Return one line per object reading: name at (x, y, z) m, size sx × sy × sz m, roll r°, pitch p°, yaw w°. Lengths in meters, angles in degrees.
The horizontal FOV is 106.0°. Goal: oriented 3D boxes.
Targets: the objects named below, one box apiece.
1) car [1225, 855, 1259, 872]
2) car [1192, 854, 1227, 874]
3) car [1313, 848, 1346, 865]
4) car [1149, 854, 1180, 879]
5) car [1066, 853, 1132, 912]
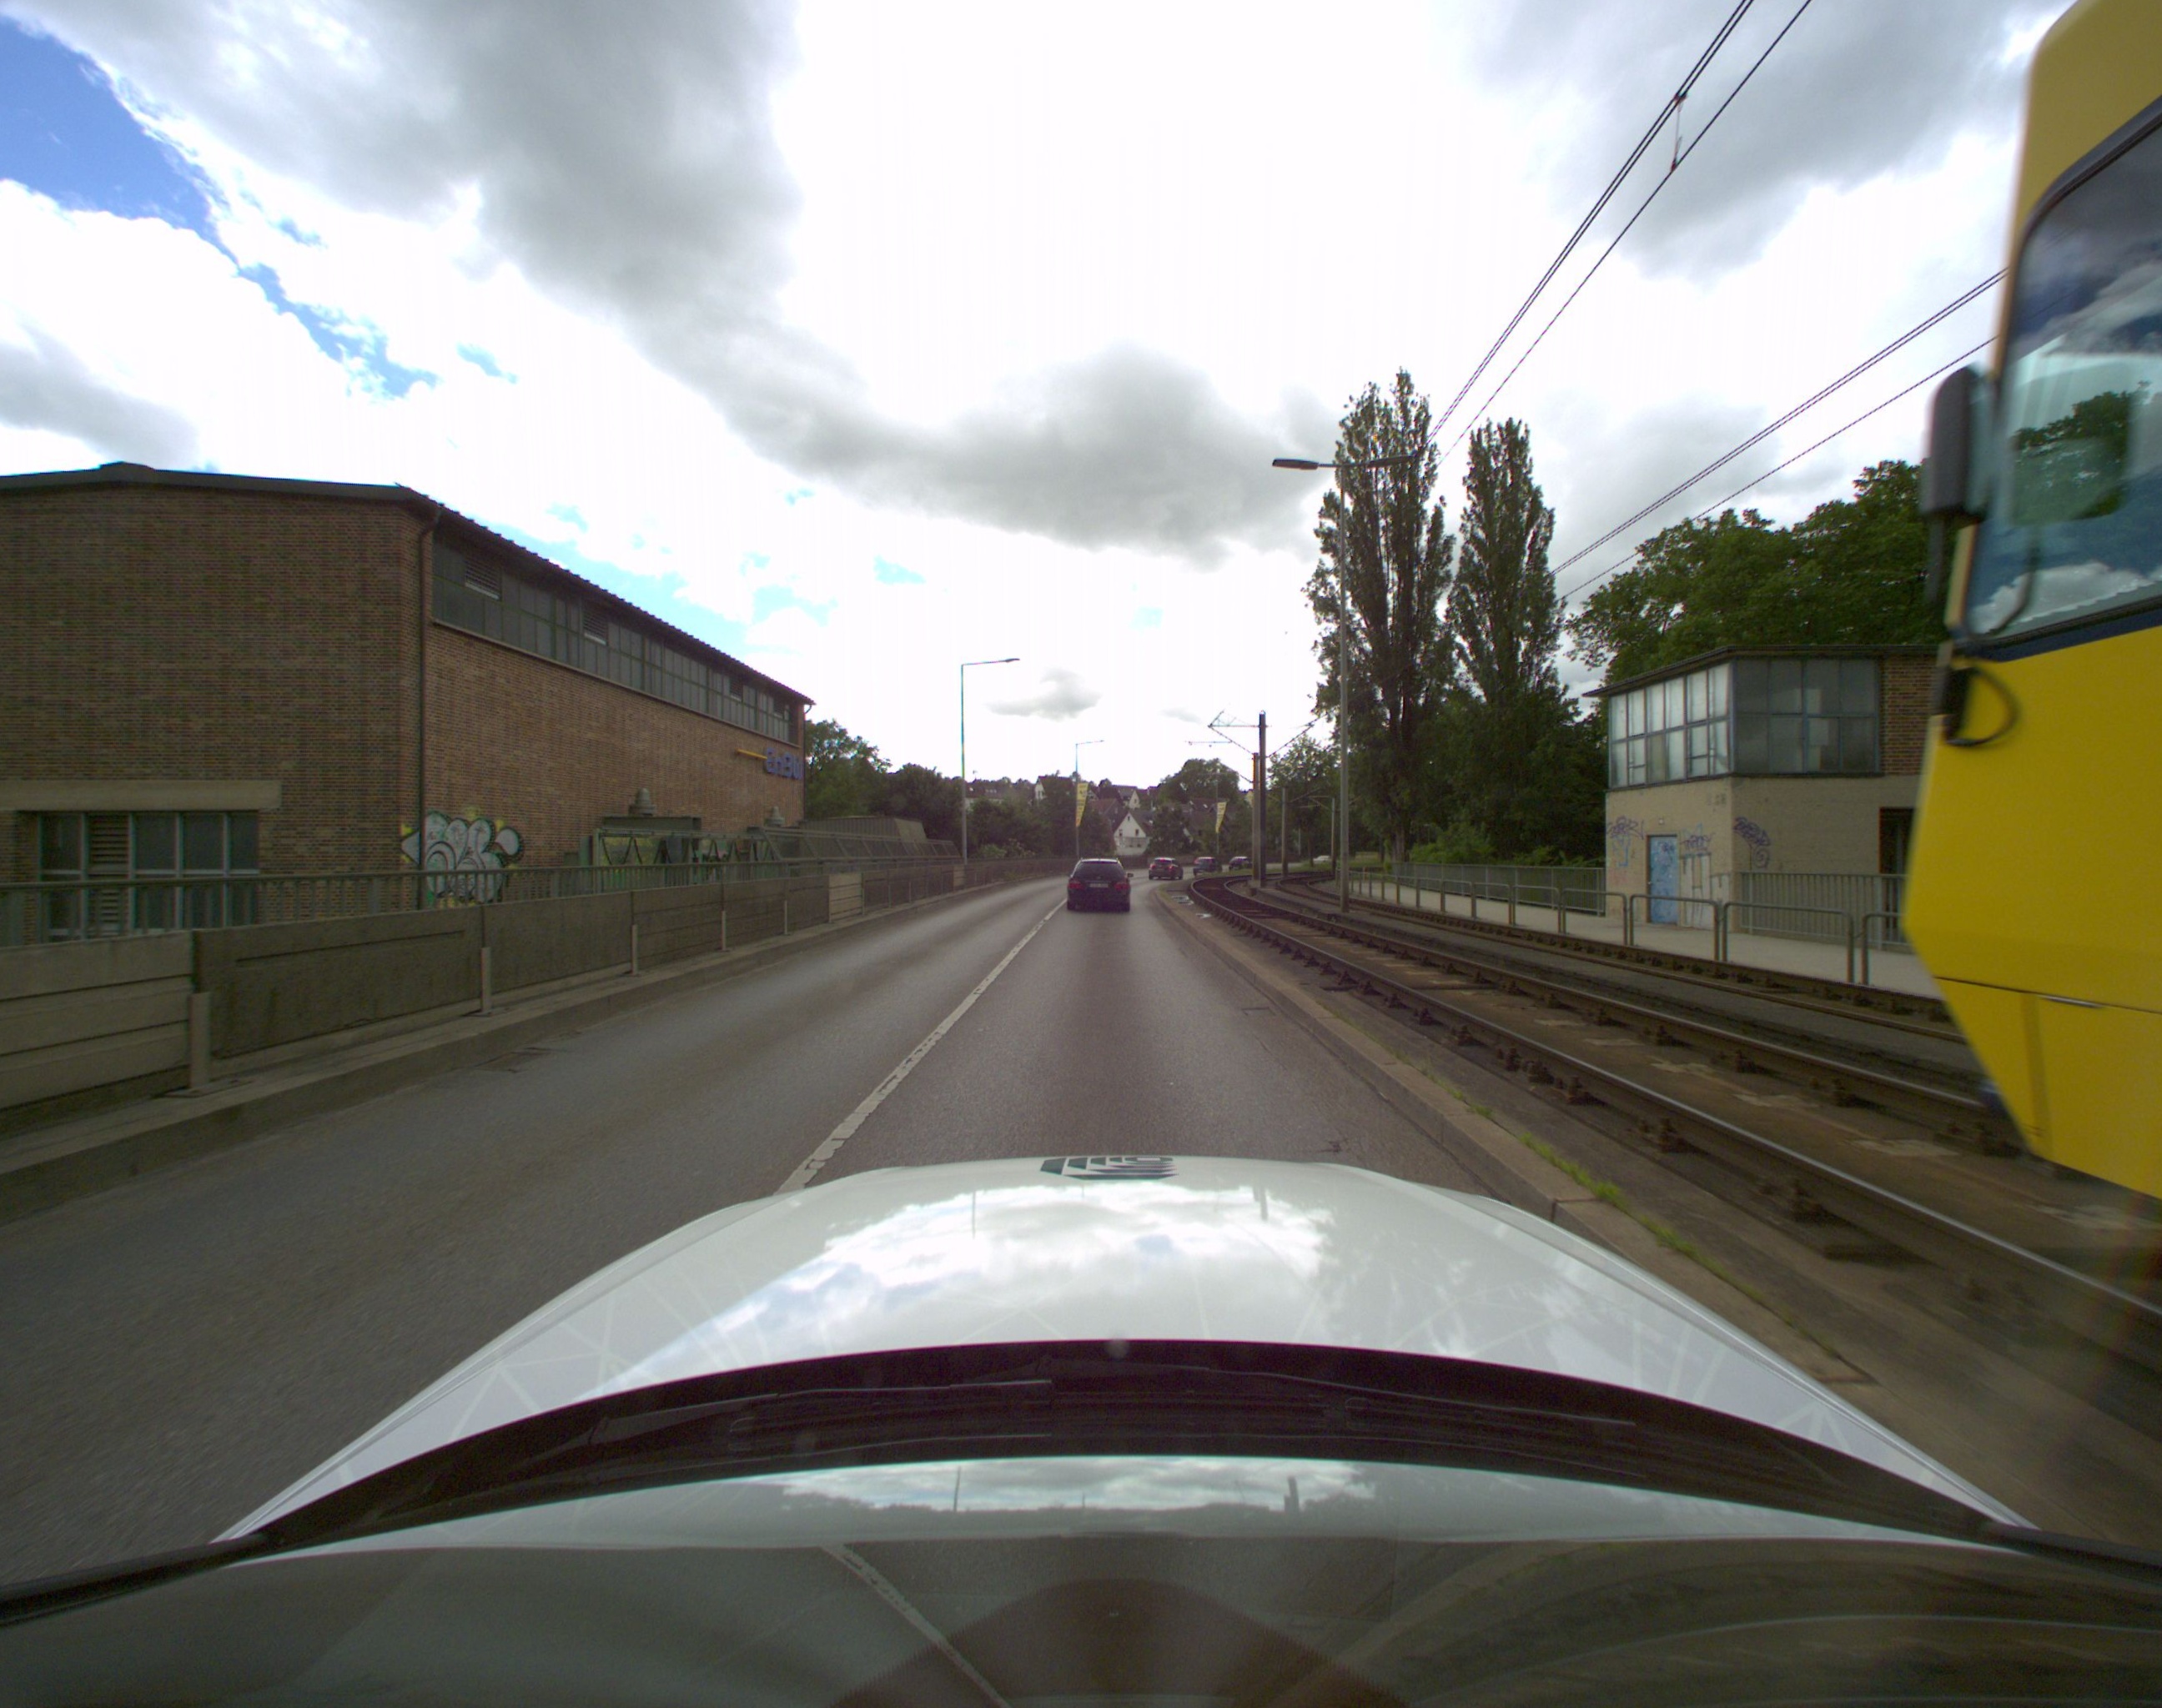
car at (14.798, 0.841, 74.661) m, size 1.753 × 1.555 × 4.266 m, roll 0°, pitch 0°, yaw 29°
car at (10.709, 0.804, 67.722) m, size 1.777 × 1.555 × 4.410 m, roll -1°, pitch 0°, yaw 23°
car at (27.660, 0.276, 90.541) m, size 4.012 × 1.711 × 1.781 m, roll -3°, pitch 1°, yaw -45°
car at (5.886, 0.858, 57.090) m, size 1.759 × 1.555 × 4.254 m, roll -2°, pitch 0°, yaw 11°
car at (0.527, 0.771, 24.274) m, size 1.753 × 1.515 × 4.443 m, roll 2°, pitch 0°, yaw 1°
